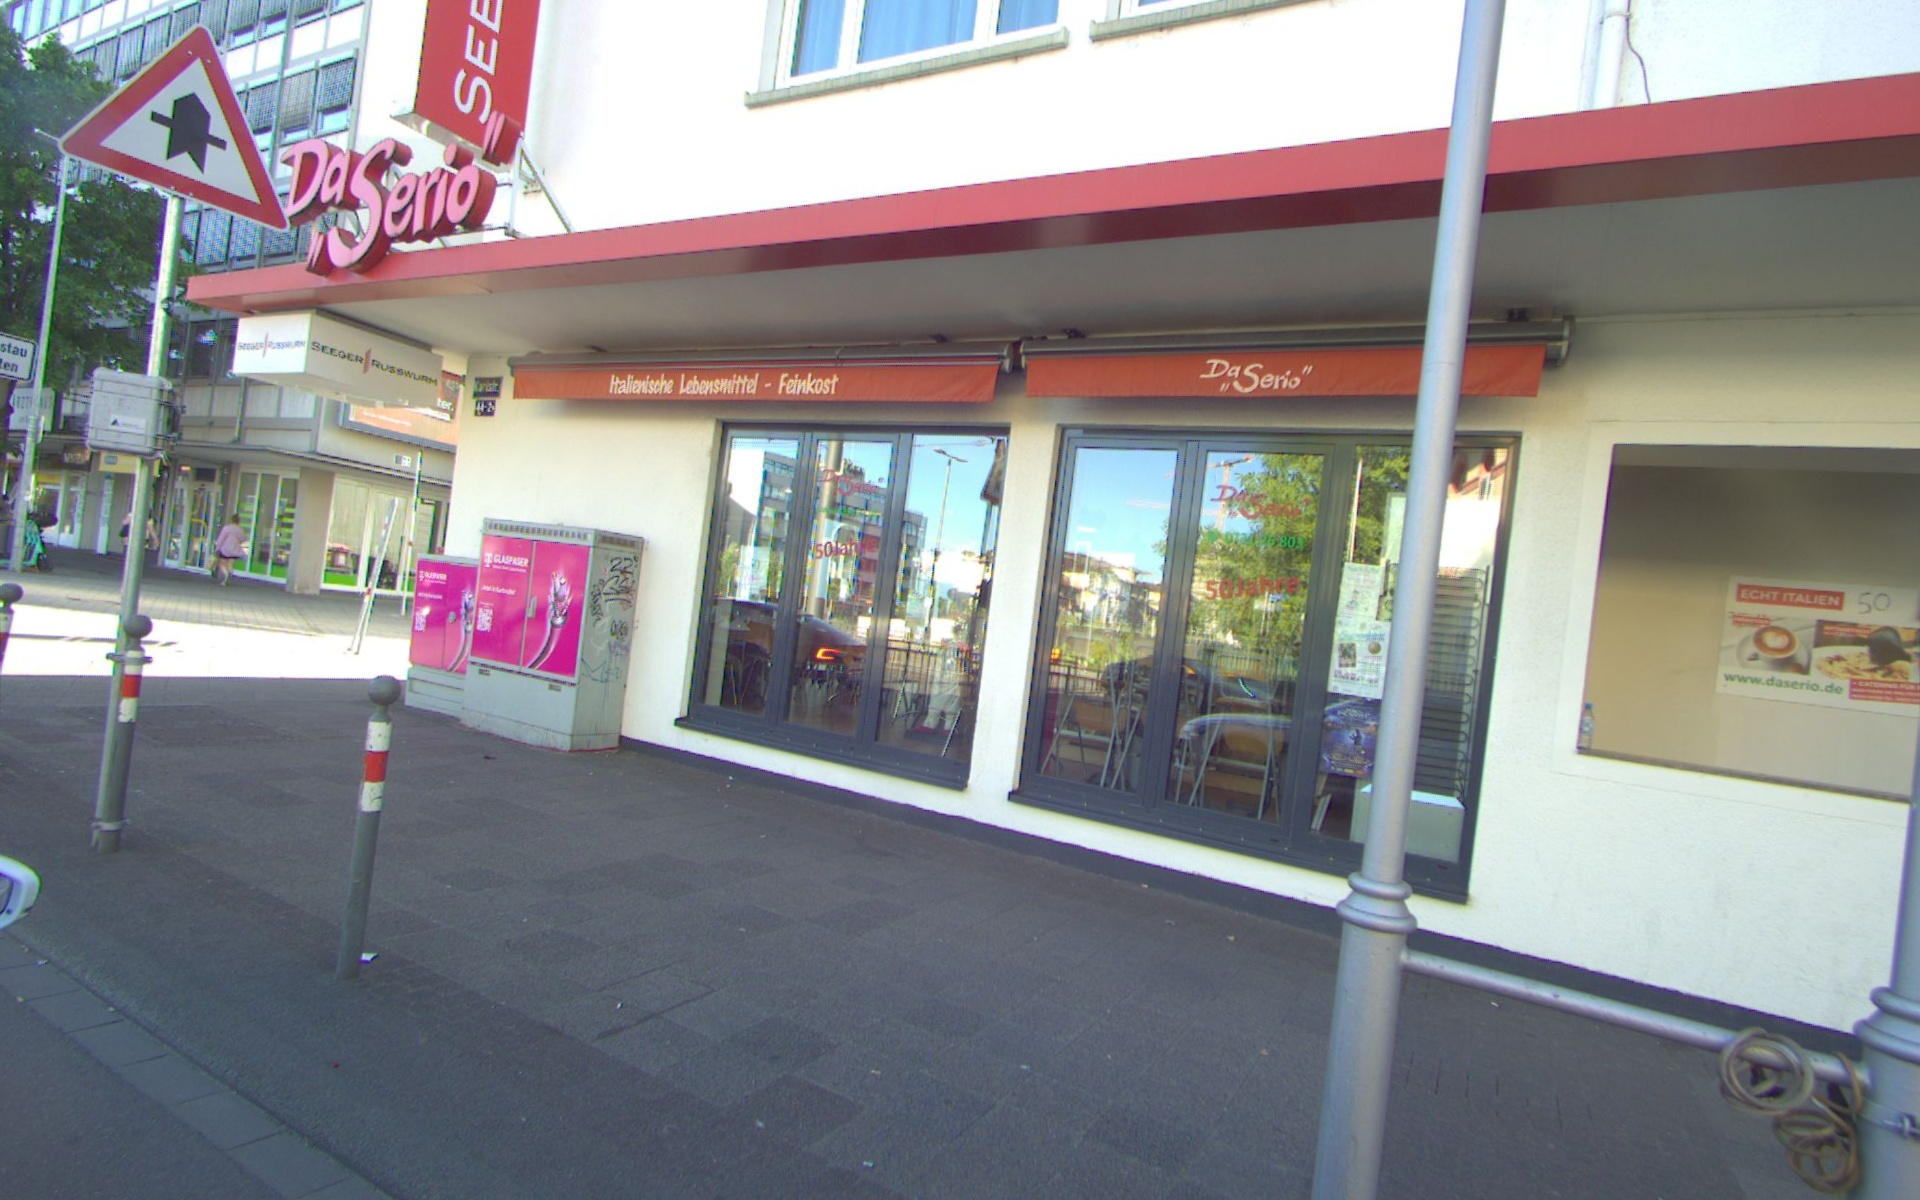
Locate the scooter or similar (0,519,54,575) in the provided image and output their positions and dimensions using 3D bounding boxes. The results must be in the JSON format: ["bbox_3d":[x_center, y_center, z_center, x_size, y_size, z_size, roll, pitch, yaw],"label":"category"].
[{"bbox_3d":[-19.698,-1.119,21.075,0.157,1.056,0.964,7,-1,34],"label":"scooter or similar"}]

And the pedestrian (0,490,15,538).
[{"bbox_3d":[-30.256,-2.734,31.601,0.612,1.438,0.644,6,-1,42],"label":"pedestrian"}]

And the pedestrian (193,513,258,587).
[{"bbox_3d":[-17.549,-1.192,24.047,0.865,1.621,0.844,6,-1,31],"label":"pedestrian"}]

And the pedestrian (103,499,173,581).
[{"bbox_3d":[-19.107,-1.387,23.389,0.865,1.727,0.844,6,-1,31],"label":"pedestrian"}]

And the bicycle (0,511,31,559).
[{"bbox_3d":[-23.134,-1.606,23.653,0.392,1.069,1.856,7,0,21],"label":"bicycle"}]

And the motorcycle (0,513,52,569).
[{"bbox_3d":[-21.493,-1.382,22.369,0.495,1.142,1.791,7,-2,29],"label":"motorcycle"}]

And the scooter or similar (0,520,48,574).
[{"bbox_3d":[-20.024,-1.132,21.295,0.157,1.039,0.964,7,-1,34],"label":"scooter or similar"}]

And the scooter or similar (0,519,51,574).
[{"bbox_3d":[-19.860,-1.124,21.185,0.157,1.051,0.957,7,-1,34],"label":"scooter or similar"}]
